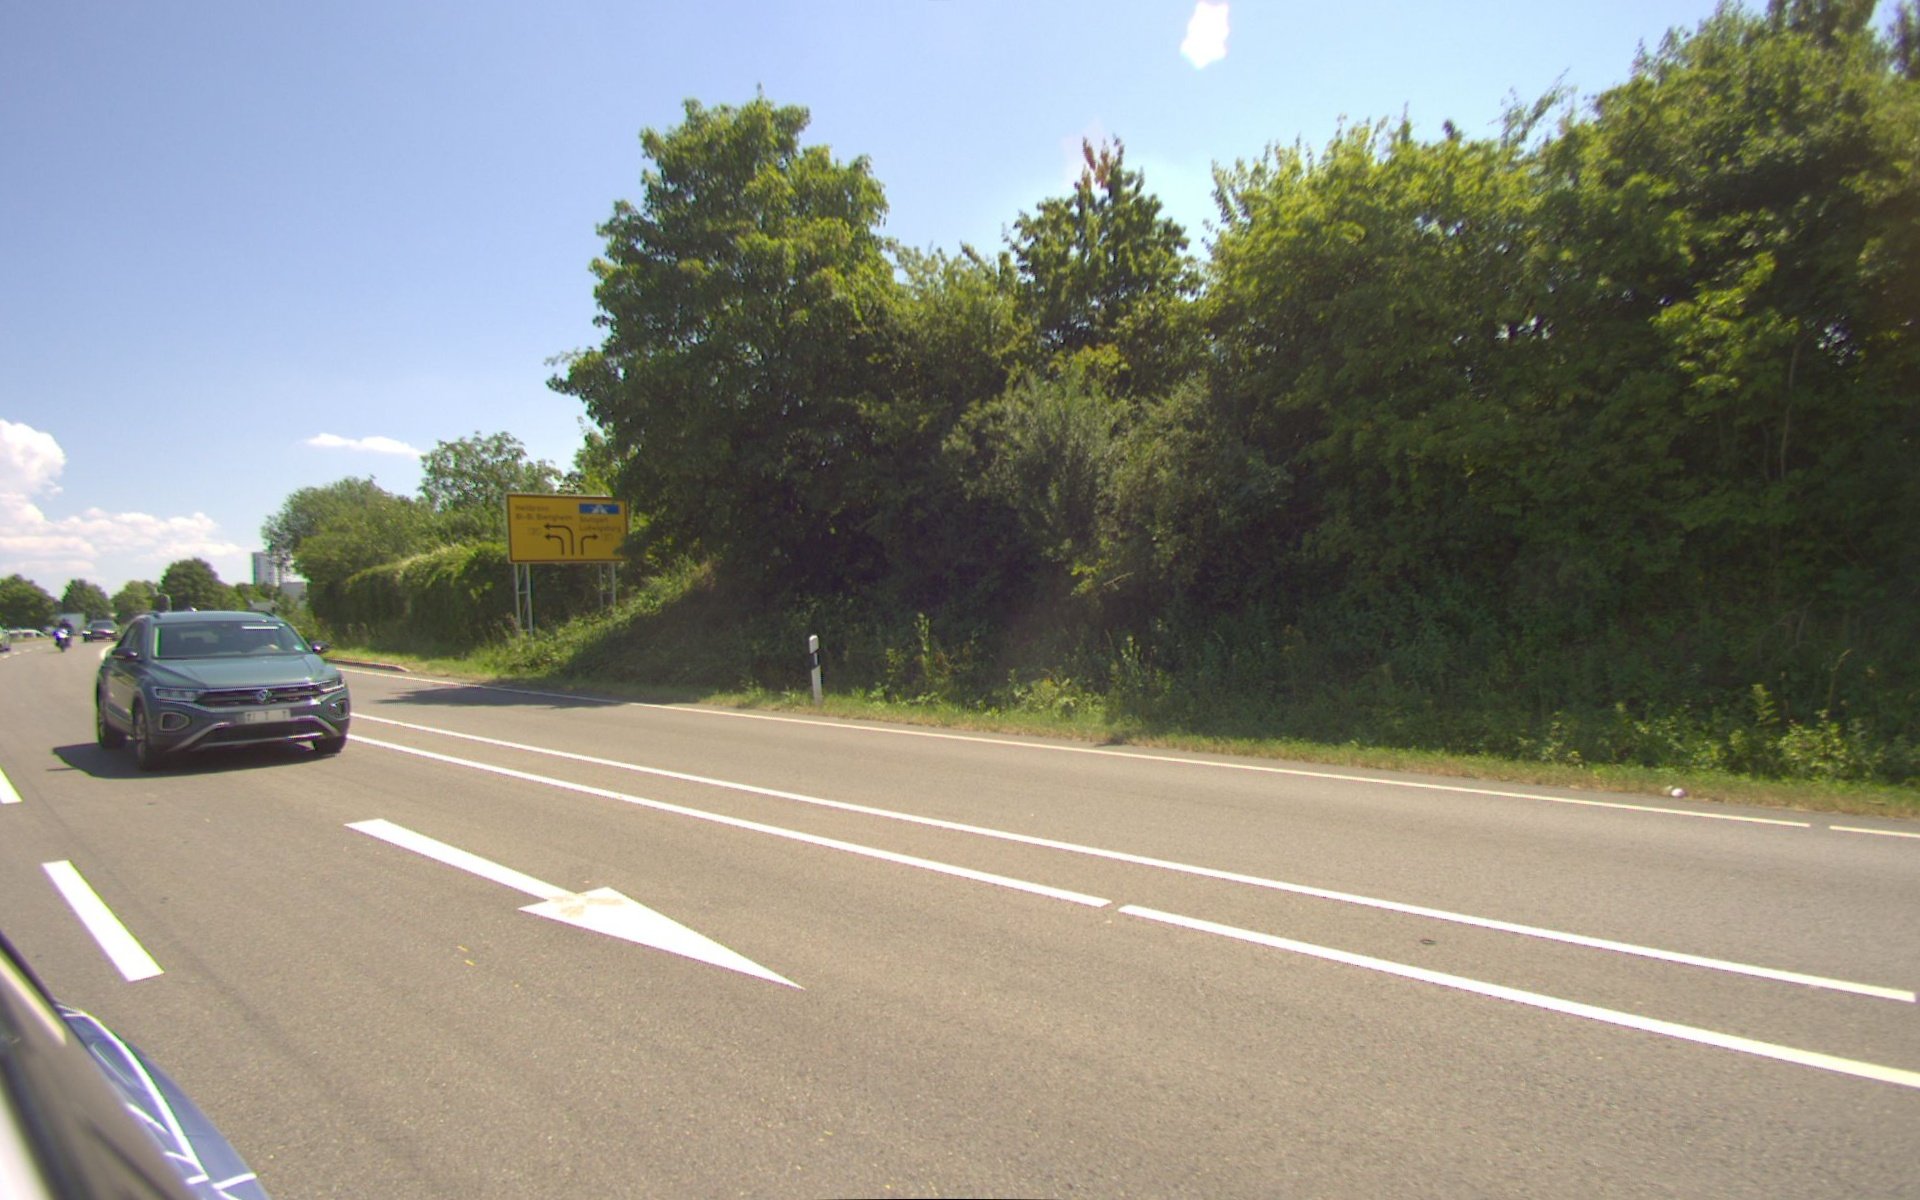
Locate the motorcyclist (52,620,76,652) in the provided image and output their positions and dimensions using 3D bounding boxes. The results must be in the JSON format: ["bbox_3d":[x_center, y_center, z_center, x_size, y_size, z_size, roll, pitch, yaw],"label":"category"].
[{"bbox_3d":[-43.052,1.712,48.615,0.848,1.500,1.163,1,-2,-42],"label":"motorcyclist"}]

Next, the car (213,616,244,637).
[{"bbox_3d":[-59.006,2.125,81.636,1.967,1.641,4.207,-1,-1,-36],"label":"car"}]

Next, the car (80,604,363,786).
[{"bbox_3d":[-8.338,0.900,11.258,4.392,1.598,1.814,-2,0,44],"label":"car"}]

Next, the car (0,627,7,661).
[{"bbox_3d":[-48.169,2.254,49.556,1.905,1.598,4.185,-4,0,-41],"label":"car"}]

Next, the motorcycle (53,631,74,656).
[{"bbox_3d":[-43.079,2.090,48.654,0.723,1.147,2.075,1,-2,-42],"label":"motorcycle"}]

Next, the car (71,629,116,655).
[{"bbox_3d":[-61.364,2.943,71.732,2.084,1.603,4.460,-1,0,-36],"label":"car"}]
